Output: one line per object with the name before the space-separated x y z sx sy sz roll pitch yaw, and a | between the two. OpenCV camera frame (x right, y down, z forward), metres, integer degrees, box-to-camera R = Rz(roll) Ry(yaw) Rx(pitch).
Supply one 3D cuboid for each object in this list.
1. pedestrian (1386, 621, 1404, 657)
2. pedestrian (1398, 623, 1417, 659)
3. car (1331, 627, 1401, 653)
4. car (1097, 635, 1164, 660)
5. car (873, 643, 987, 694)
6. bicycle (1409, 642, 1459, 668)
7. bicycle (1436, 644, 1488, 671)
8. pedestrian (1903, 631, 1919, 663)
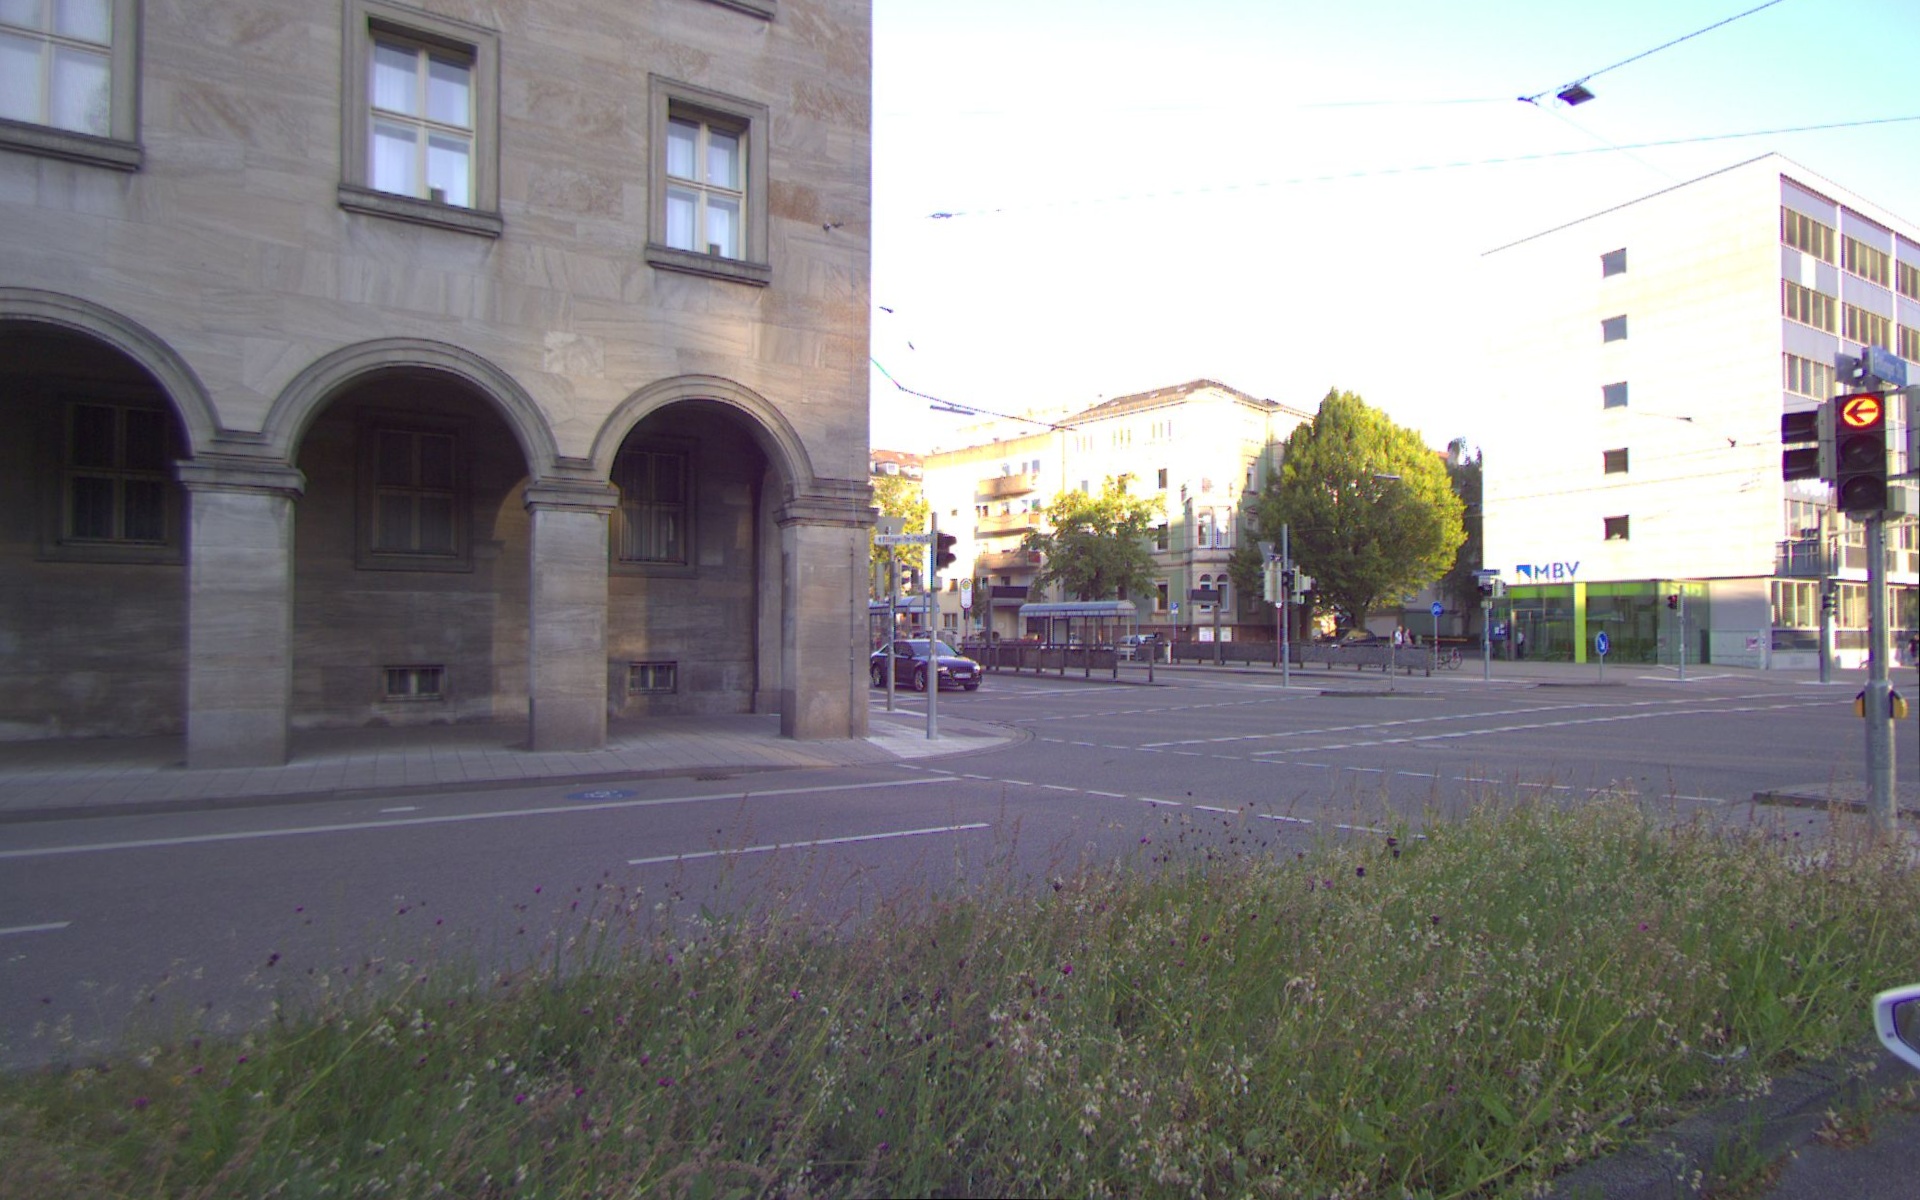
pedestrian | 22.013 1.990 50.833 0.718 1.813 0.634 2 -2 -44
pedestrian | 22.762 2.078 51.115 0.718 1.813 0.634 2 -2 -43
car | 22.302 2.189 55.113 3.553 1.390 1.826 1 -2 -32
car | 10.029 2.769 59.196 3.545 1.390 1.830 -2 -3 45
car | -0.978 1.970 29.739 1.791 1.344 4.120 1 -2 -27
bicycle | 21.048 2.431 44.619 2.183 1.127 0.834 1 -2 -26
bicycle | 21.695 2.490 43.405 2.183 1.127 0.834 1 -2 -26
pedestrian | 50.165 2.462 52.909 0.494 1.701 0.549 1 -2 -30
